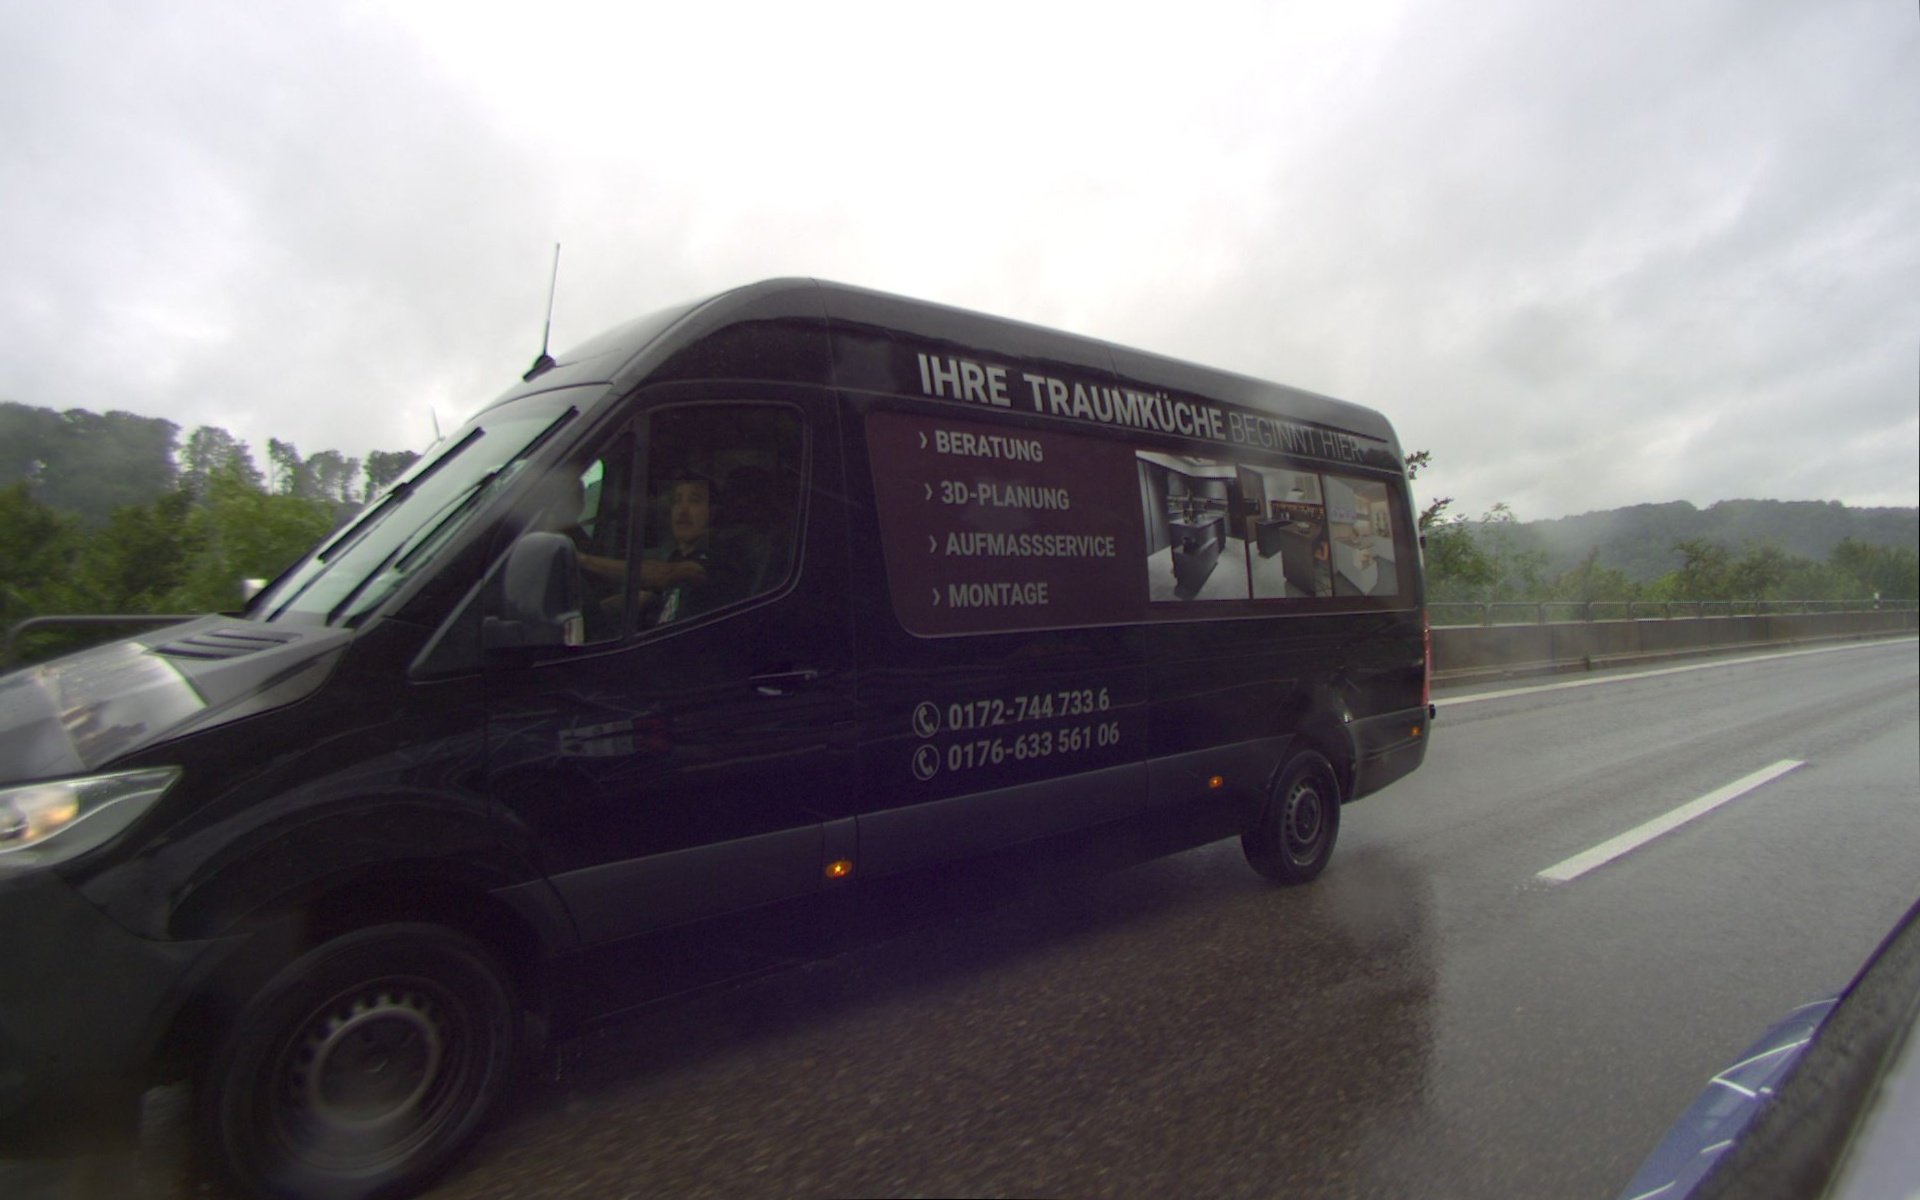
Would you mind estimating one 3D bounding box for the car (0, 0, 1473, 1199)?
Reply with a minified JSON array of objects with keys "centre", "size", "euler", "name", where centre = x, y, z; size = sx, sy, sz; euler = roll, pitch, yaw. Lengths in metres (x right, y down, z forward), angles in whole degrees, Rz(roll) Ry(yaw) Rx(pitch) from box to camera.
[{"centre":[-0.090,0.073,4.654],"size":[6.587,2.525,1.997],"euler":[0,1,-41],"name":"car"}]
